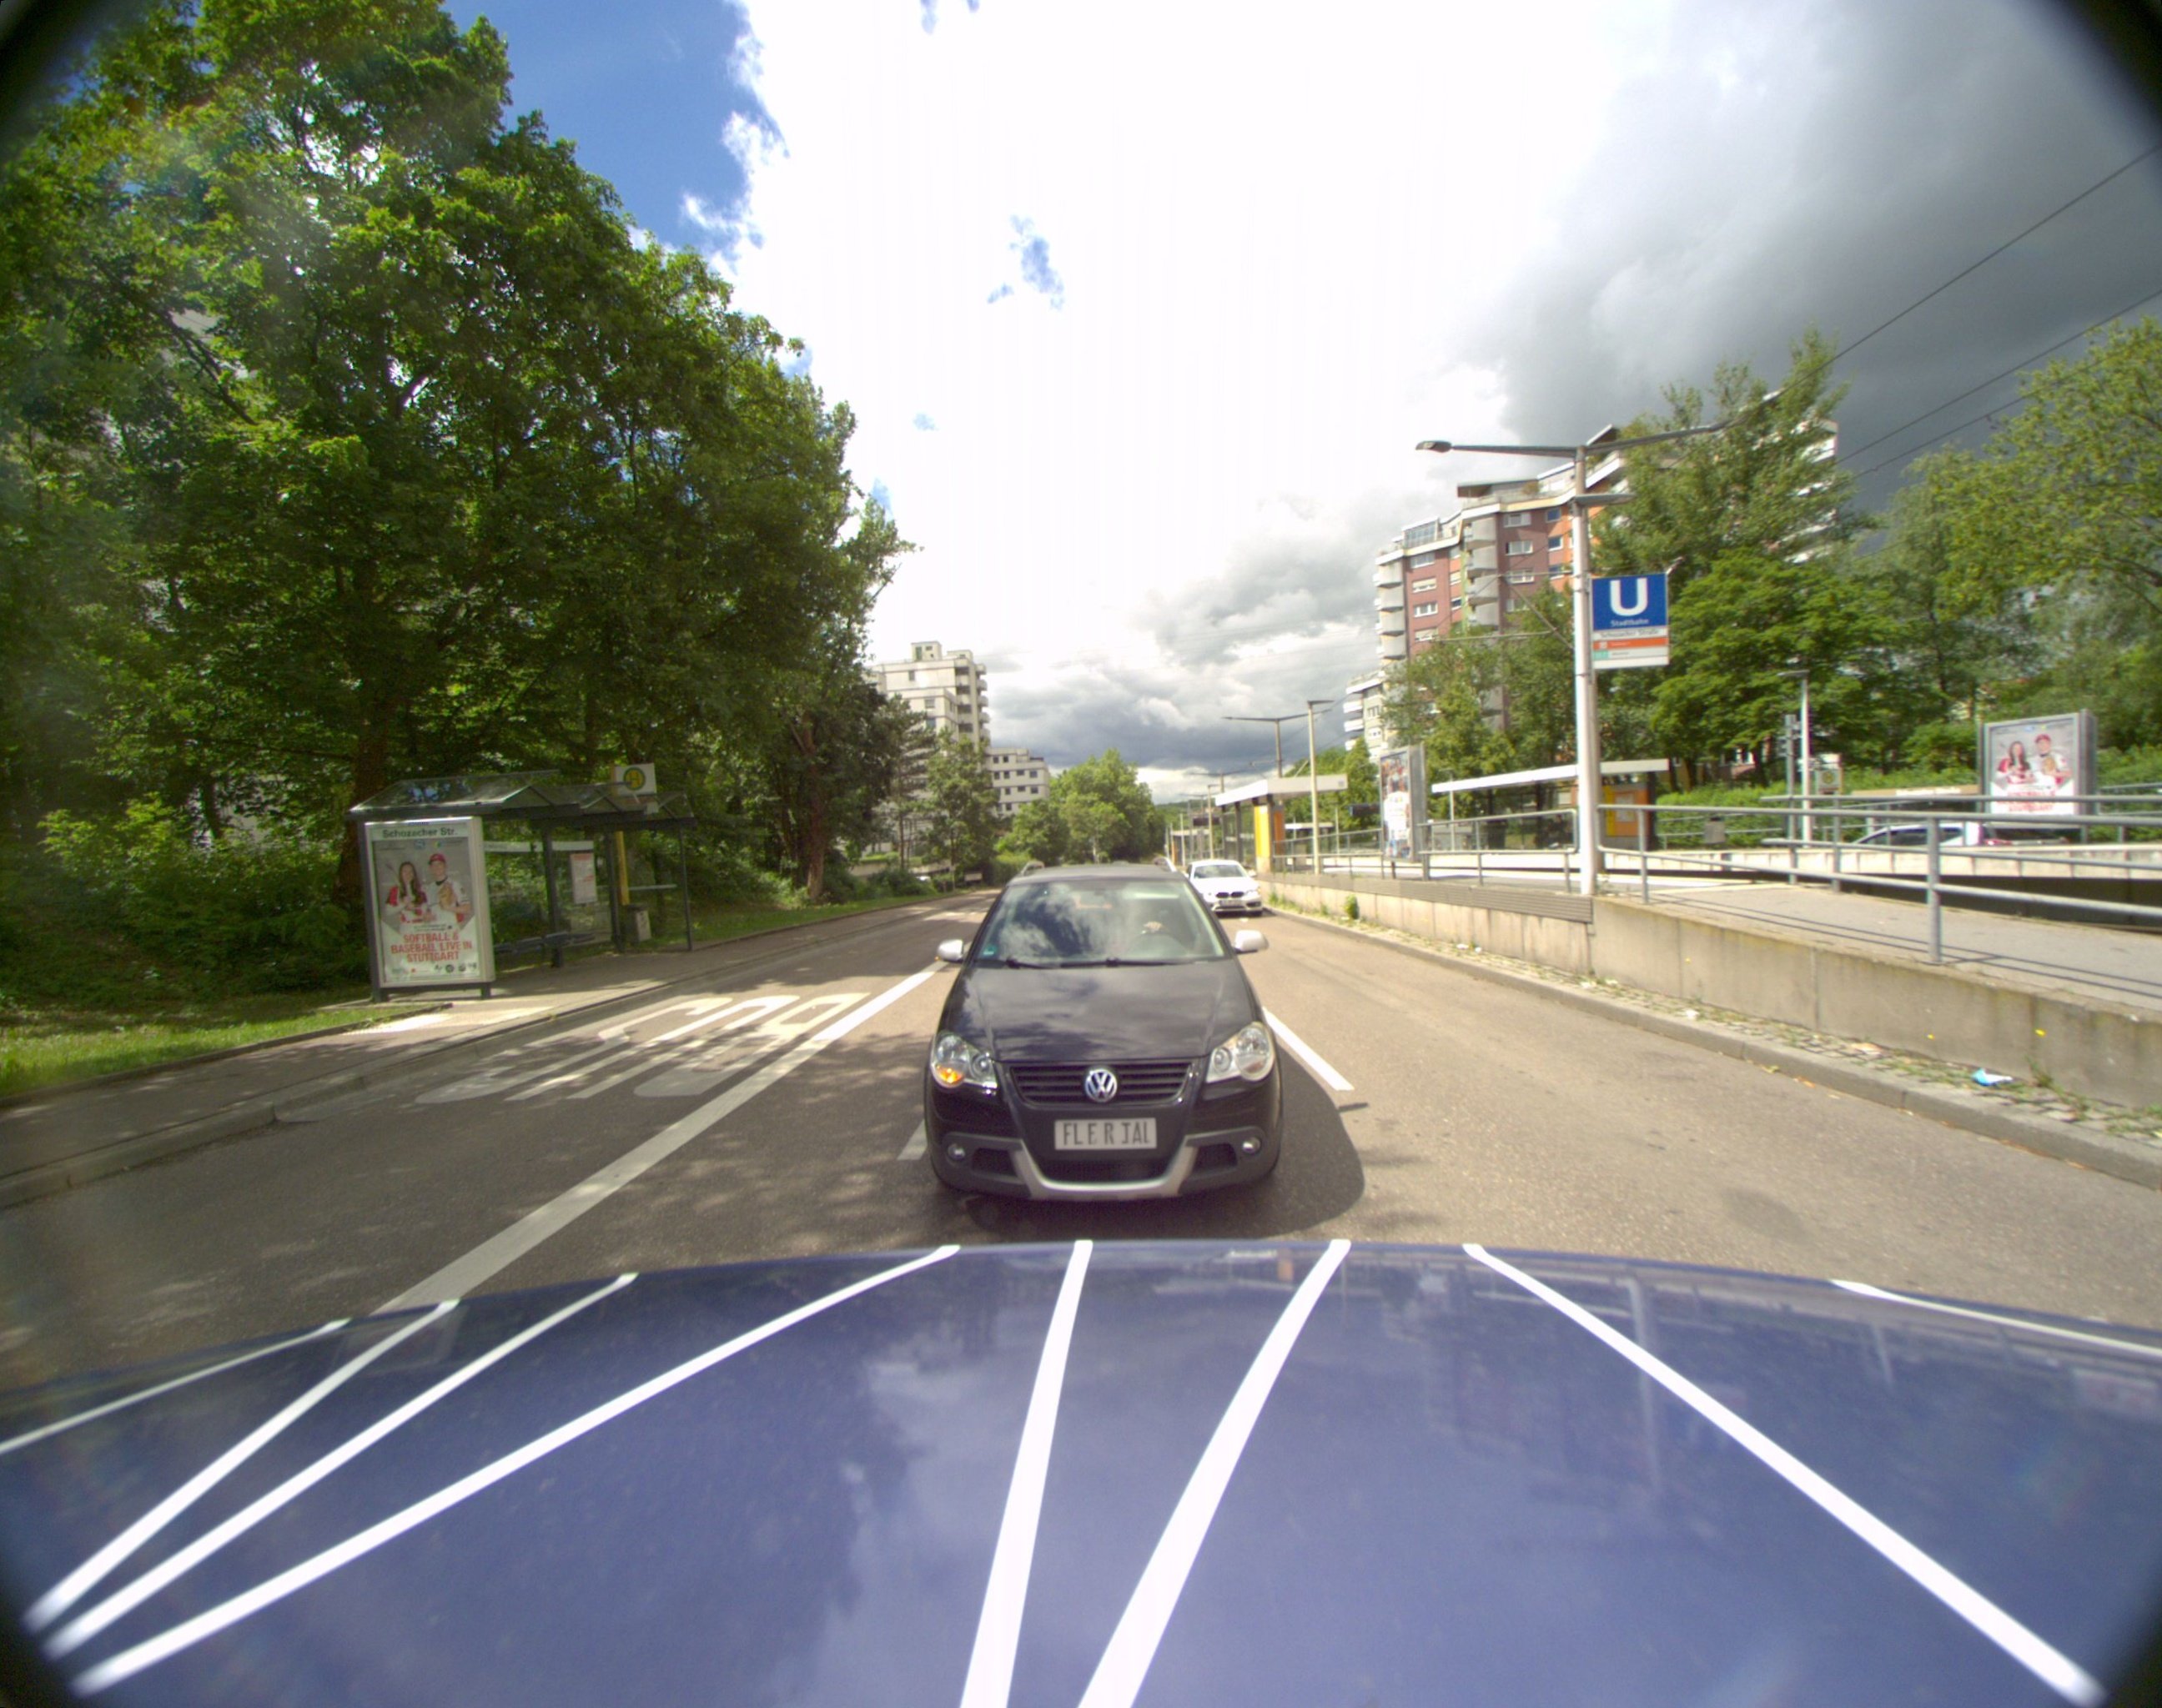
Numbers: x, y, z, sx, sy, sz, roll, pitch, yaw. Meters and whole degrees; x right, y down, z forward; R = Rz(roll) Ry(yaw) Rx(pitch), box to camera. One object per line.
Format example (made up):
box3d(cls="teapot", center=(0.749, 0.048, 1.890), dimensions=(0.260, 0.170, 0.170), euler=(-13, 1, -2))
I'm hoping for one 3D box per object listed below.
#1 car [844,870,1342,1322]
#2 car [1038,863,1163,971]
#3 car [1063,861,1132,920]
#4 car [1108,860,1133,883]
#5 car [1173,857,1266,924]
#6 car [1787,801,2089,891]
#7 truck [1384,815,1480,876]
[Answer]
box3d(cls="car", center=(0.080, 0.917, 4.738), dimensions=(1.732, 1.501, 4.000), euler=(-2, 0, 1))
box3d(cls="car", center=(0.323, 0.929, 12.936), dimensions=(1.732, 1.453, 4.000), euler=(-2, 0, 1))
box3d(cls="car", center=(0.543, 0.970, 21.772), dimensions=(1.732, 1.452, 4.001), euler=(-2, 0, 3))
box3d(cls="car", center=(3.033, 1.323, 58.598), dimensions=(1.732, 1.505, 4.000), euler=(-2, 1, 1))
box3d(cls="car", center=(3.527, 0.878, 19.990), dimensions=(1.732, 1.453, 4.000), euler=(-2, 1, 1))
box3d(cls="car", center=(19.373, -0.169, 17.579), dimensions=(1.998, 1.791, 4.510), euler=(-1, 0, 2))
box3d(cls="truck", center=(20.697, -0.436, 45.272), dimensions=(2.420, 3.203, 7.263), euler=(-2, 0, 1))
